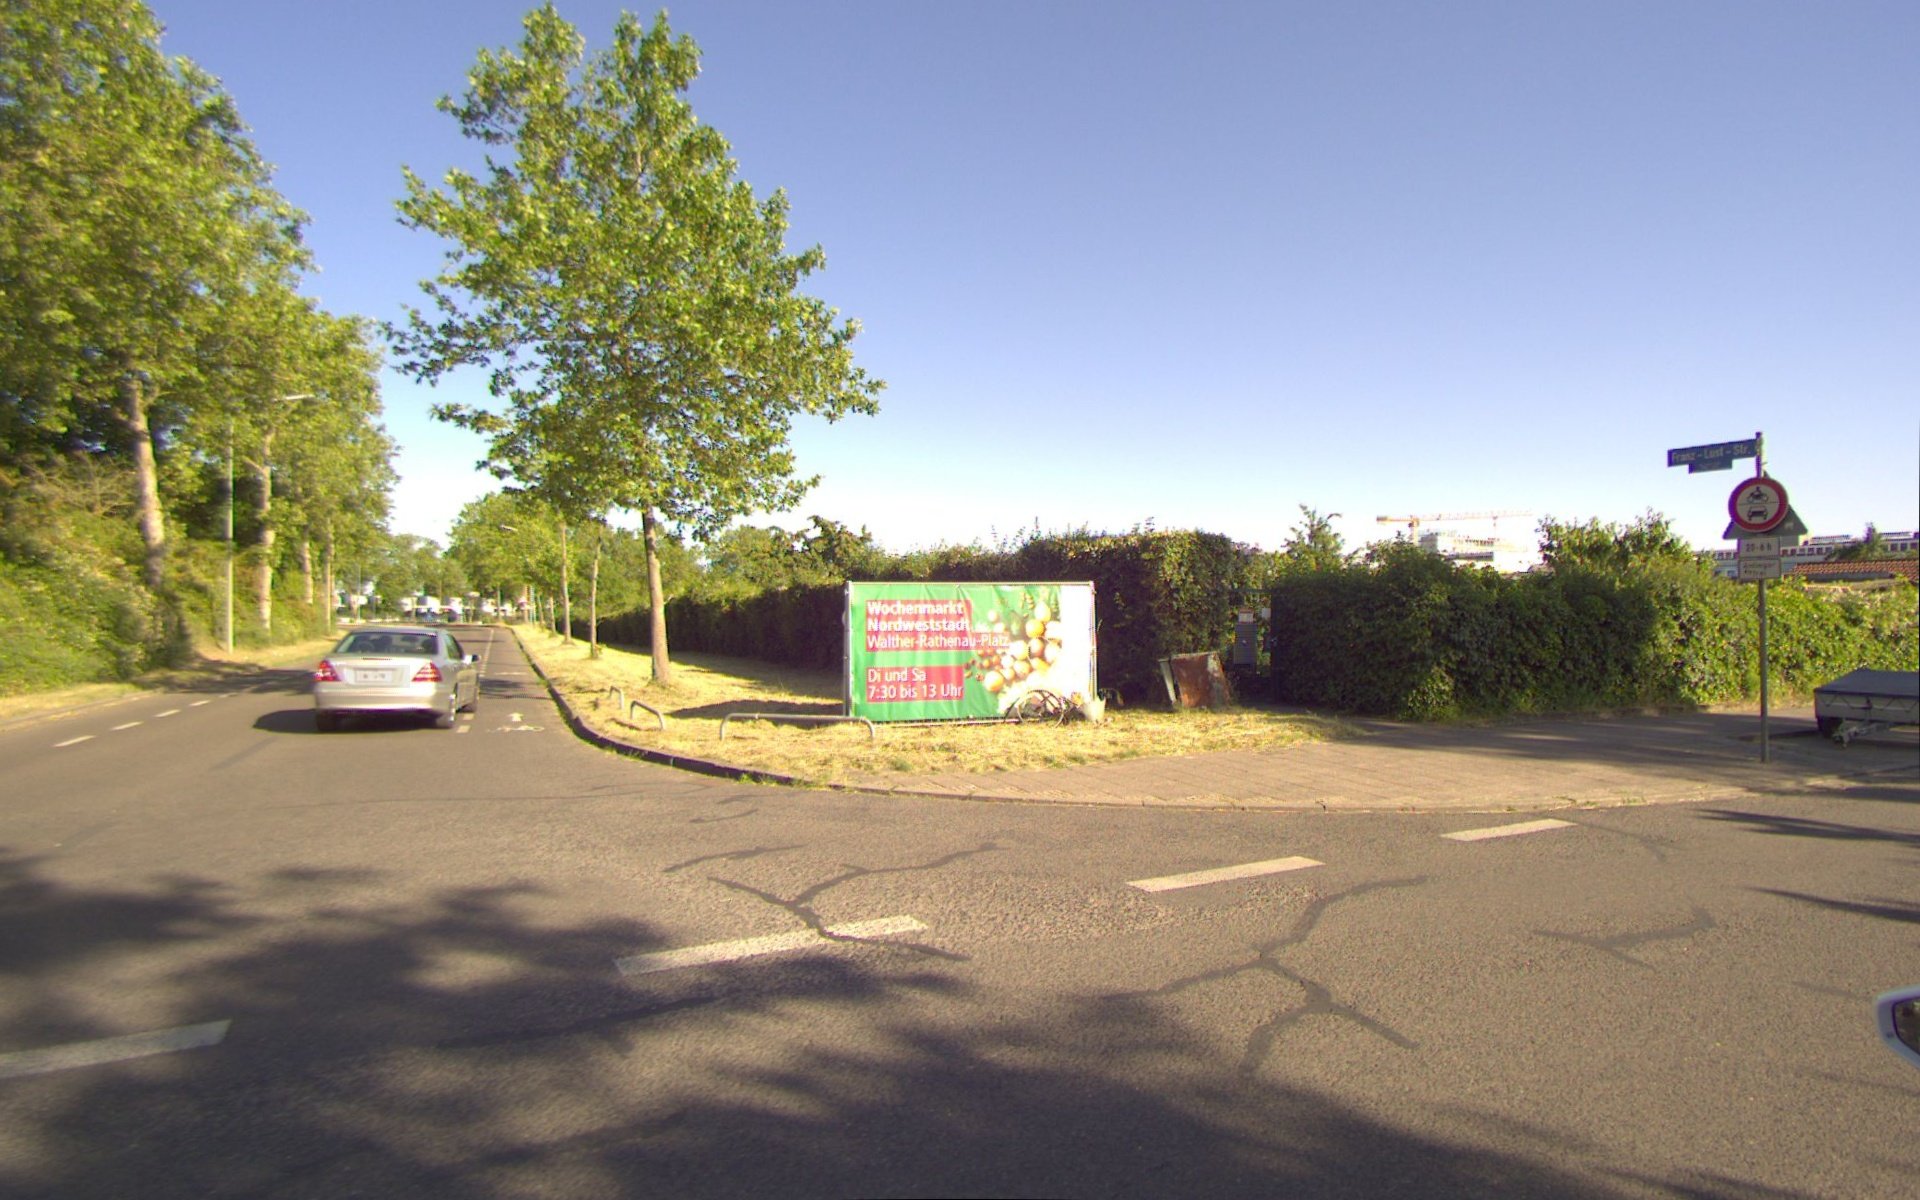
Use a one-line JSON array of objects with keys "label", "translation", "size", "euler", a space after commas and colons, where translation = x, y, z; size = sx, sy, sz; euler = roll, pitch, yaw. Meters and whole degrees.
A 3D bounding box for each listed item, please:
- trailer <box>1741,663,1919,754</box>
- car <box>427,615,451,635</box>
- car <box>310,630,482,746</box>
[{"label": "trailer", "translation": [11.992, 1.380, 13.342], "size": [2.611, 0.966, 1.539], "euler": [1, 1, -25]}, {"label": "car", "translation": [-45.030, 2.116, 86.874], "size": [1.766, 1.568, 3.971], "euler": [1, 0, -28]}, {"label": "car", "translation": [-8.263, 1.200, 15.054], "size": [1.718, 1.472, 3.980], "euler": [1, -2, -22]}]
